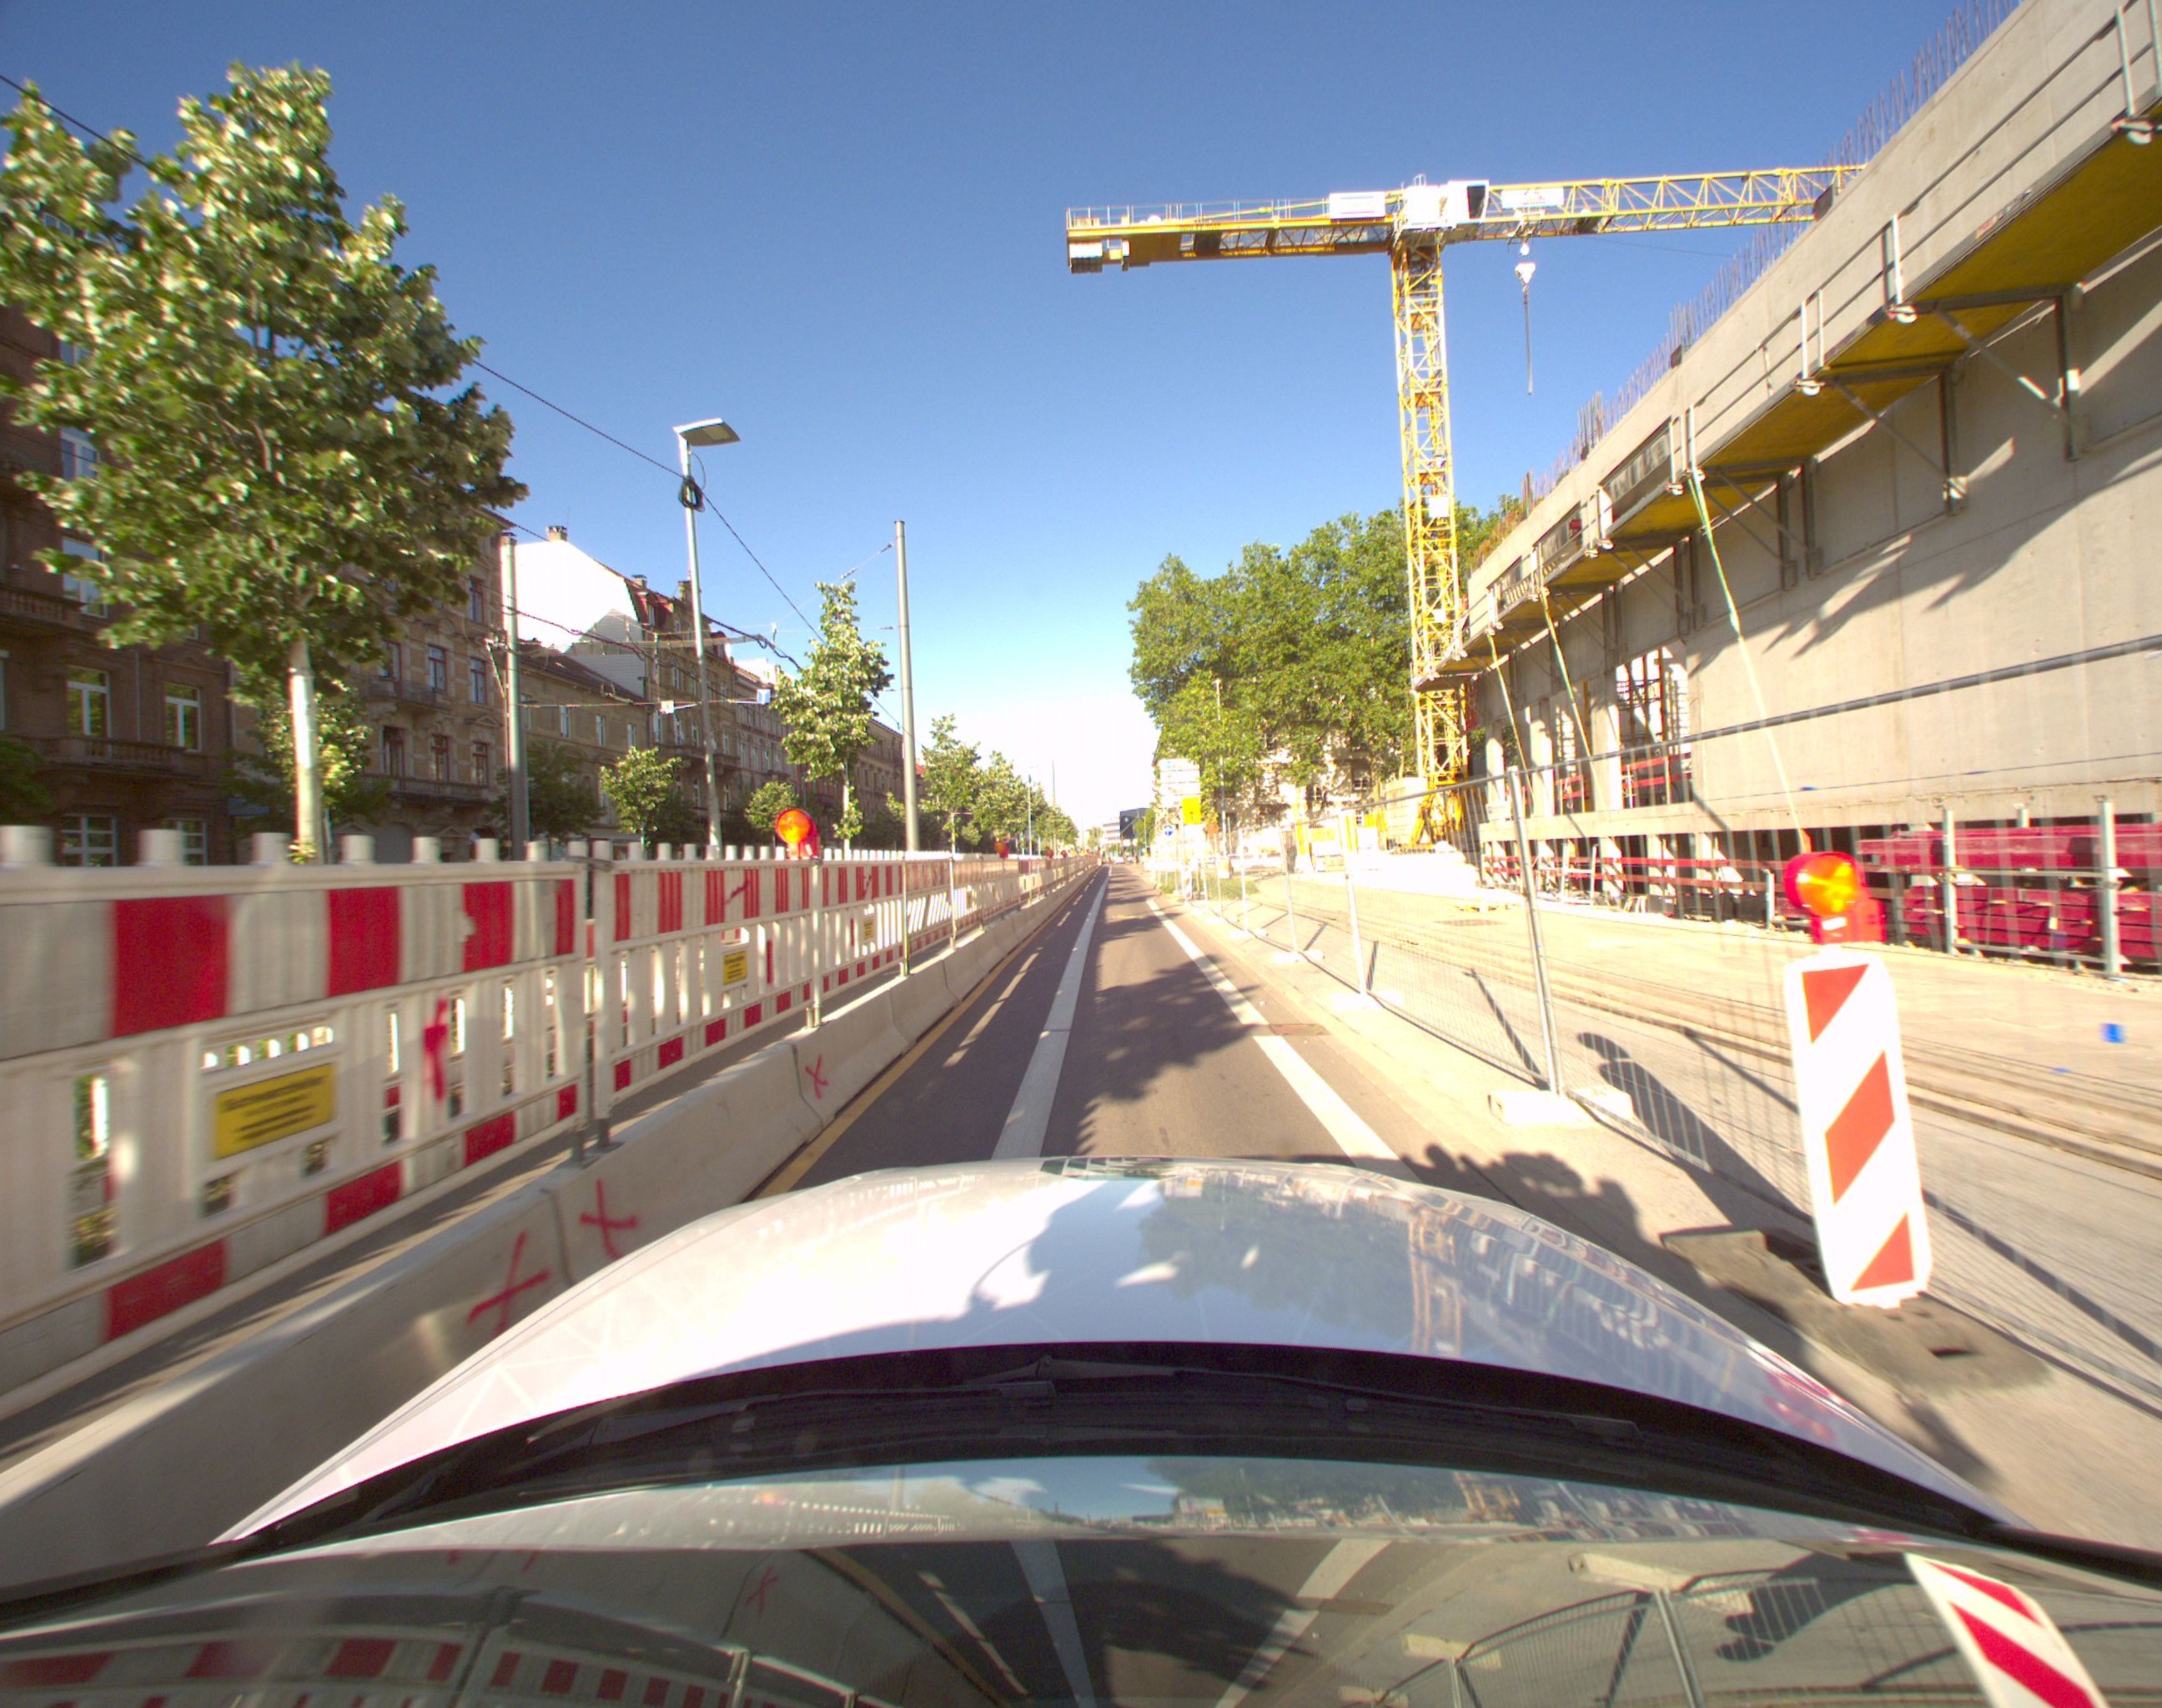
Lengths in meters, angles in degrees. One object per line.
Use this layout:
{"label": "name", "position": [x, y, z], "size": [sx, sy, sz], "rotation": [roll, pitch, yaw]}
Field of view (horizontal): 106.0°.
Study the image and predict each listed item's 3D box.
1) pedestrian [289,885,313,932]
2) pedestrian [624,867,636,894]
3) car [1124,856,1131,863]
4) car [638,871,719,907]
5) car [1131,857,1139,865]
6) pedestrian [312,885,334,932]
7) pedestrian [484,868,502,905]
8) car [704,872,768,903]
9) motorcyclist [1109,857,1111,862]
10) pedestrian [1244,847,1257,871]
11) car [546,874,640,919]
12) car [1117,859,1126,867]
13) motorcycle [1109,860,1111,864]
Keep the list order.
{"label": "pedestrian", "position": [-26.626, 1.856, 27.811], "size": [0.432, 1.585, 0.385], "rotation": [0, -1, -1]}
{"label": "pedestrian", "position": [-25.844, 1.543, 46.684], "size": [0.403, 1.534, 0.435], "rotation": [0, -1, 2]}
{"label": "car", "position": [12.986, 1.542, 225.916], "size": [1.876, 1.842, 3.670], "rotation": [-2, 0, 2]}
{"label": "car", "position": [-20.423, 1.718, 41.564], "size": [1.560, 1.562, 4.717], "rotation": [-2, 0, 2]}
{"label": "car", "position": [13.125, 1.735, 197.454], "size": [1.876, 1.842, 3.670], "rotation": [-2, 0, 2]}
{"label": "pedestrian", "position": [-25.856, 1.861, 27.789], "size": [0.427, 1.585, 0.339], "rotation": [0, -1, 3]}
{"label": "pedestrian", "position": [-25.632, 1.409, 35.530], "size": [0.460, 1.585, 0.434], "rotation": [0, -1, -4]}
{"label": "car", "position": [-20.212, 1.926, 47.960], "size": [1.560, 1.562, 4.717], "rotation": [-2, 0, 2]}
{"label": "motorcyclist", "position": [7.811, 1.592, 220.818], "size": [0.628, 1.263, 0.606], "rotation": [-2, 0, 2]}
{"label": "pedestrian", "position": [12.581, 0.377, 60.544], "size": [0.772, 1.746, 0.671], "rotation": [-2, 0, 3]}
{"label": "car", "position": [-20.764, 1.751, 34.848], "size": [1.560, 1.675, 3.811], "rotation": [-2, 0, 2]}
{"label": "car", "position": [9.114, 1.987, 182.852], "size": [1.876, 1.842, 3.670], "rotation": [-2, 0, 2]}
{"label": "motorcycle", "position": [7.835, 2.128, 220.679], "size": [0.628, 0.897, 1.622], "rotation": [-2, 0, 2]}
